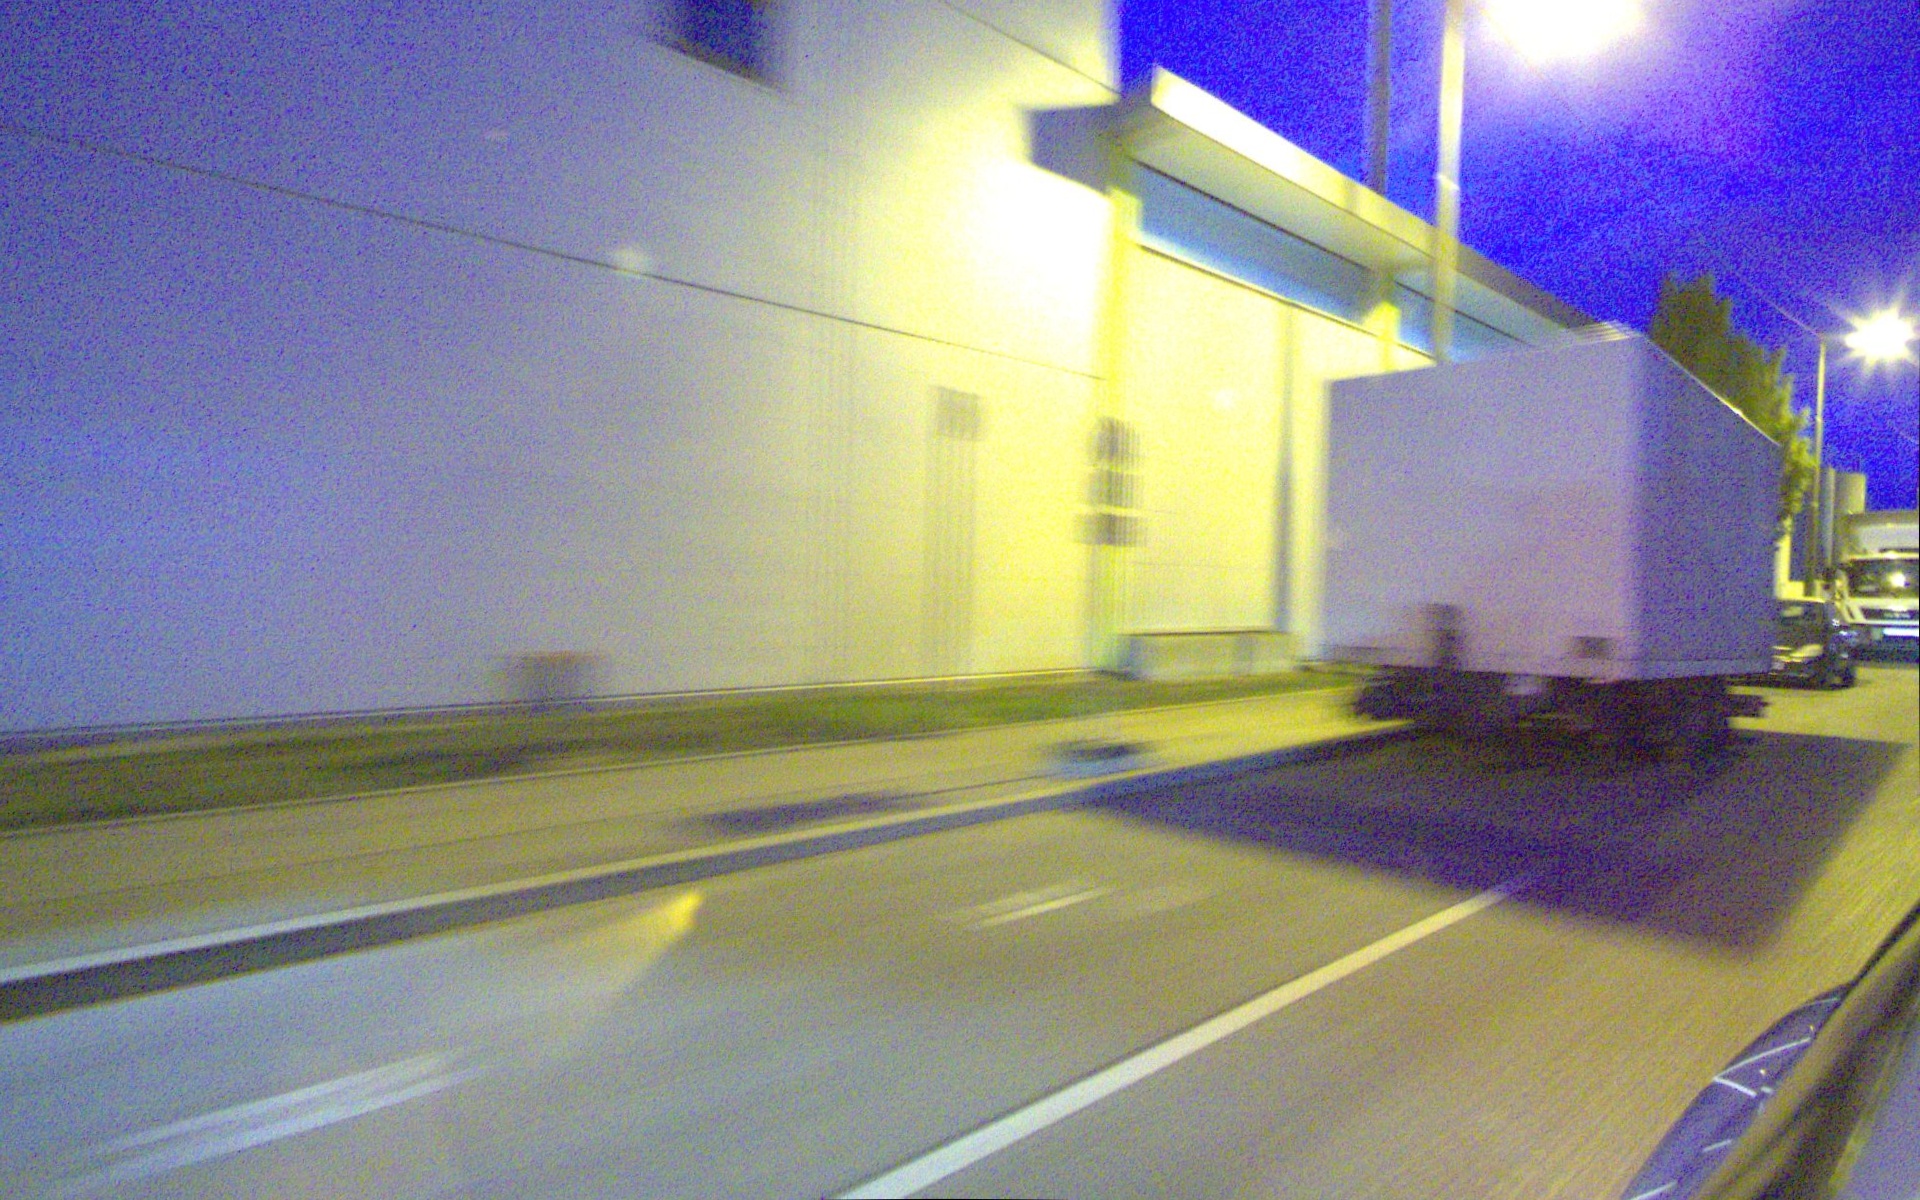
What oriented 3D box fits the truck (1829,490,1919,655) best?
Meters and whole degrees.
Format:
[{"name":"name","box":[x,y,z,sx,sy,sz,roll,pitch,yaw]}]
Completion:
[{"name":"truck","box":[26.843,-0.639,28.143,9.649,4.021,2.795,1,0,-41]}]

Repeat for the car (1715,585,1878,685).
[{"name":"car","box":[15.045,0.561,18.156,3.415,1.580,1.684,0,1,-41]}]

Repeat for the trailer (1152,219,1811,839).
[{"name":"trailer","box":[5.517,-0.464,9.667,8.142,3.568,2.882,0,2,-43]}]
